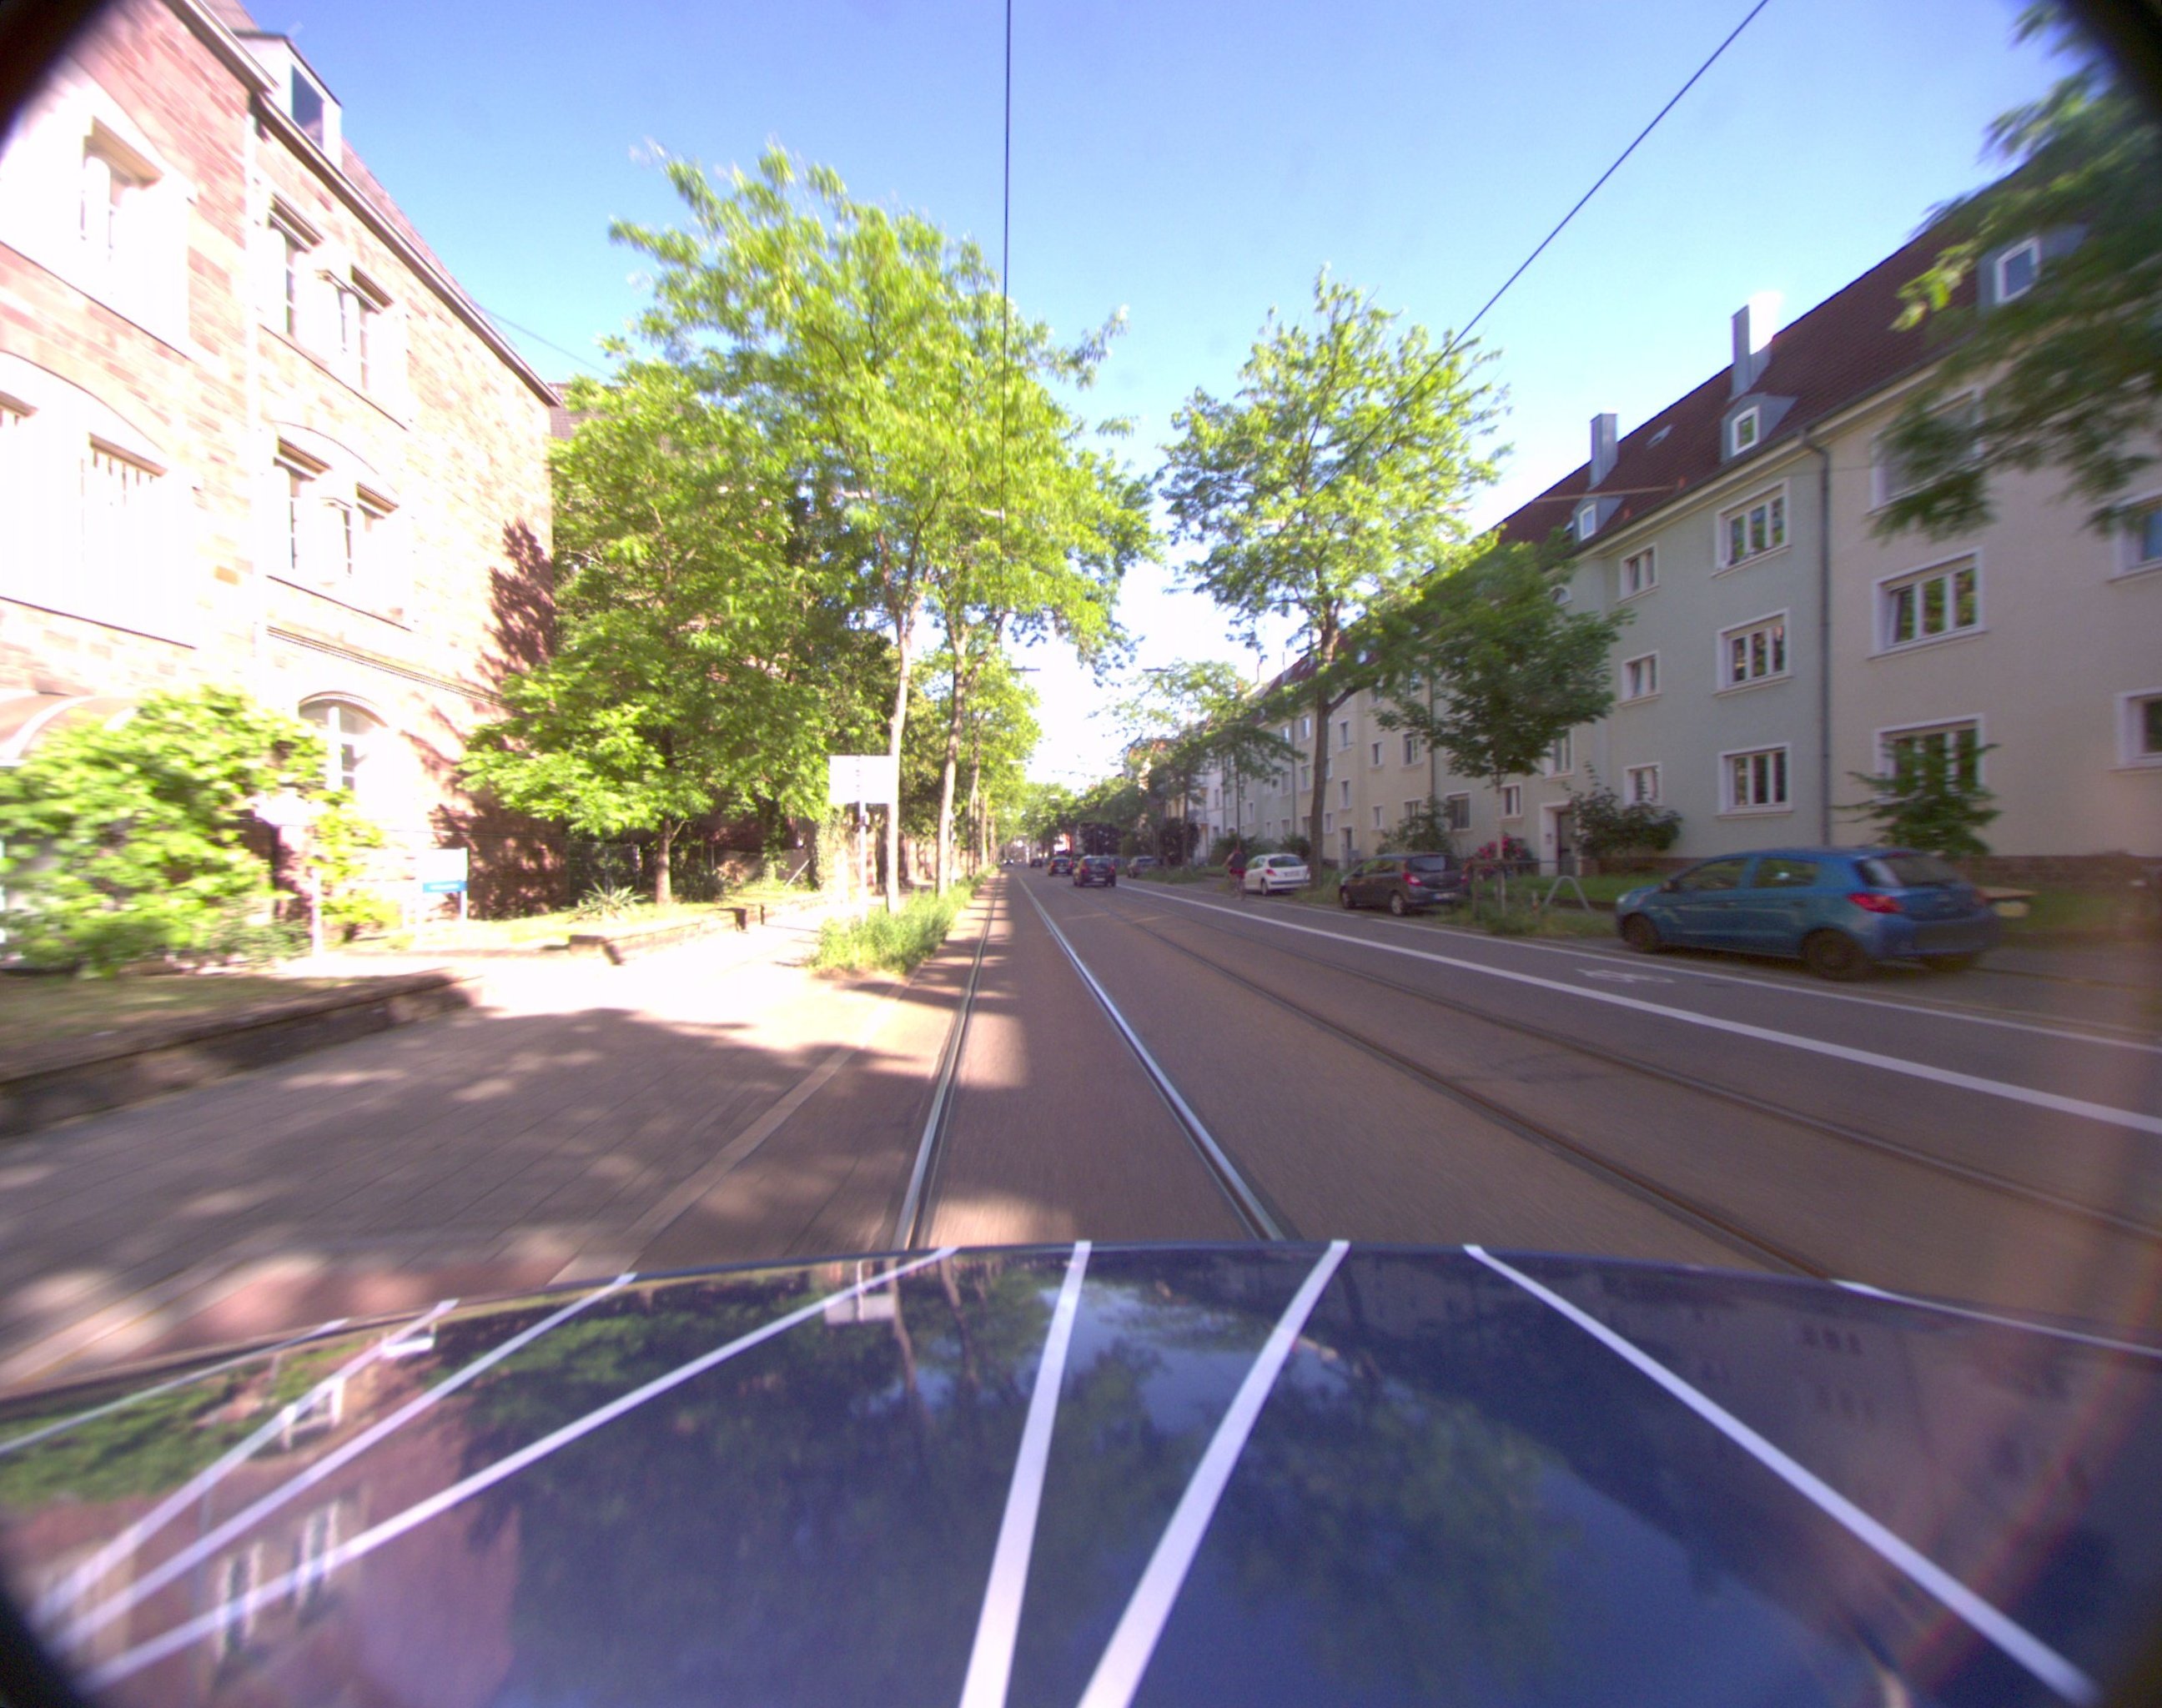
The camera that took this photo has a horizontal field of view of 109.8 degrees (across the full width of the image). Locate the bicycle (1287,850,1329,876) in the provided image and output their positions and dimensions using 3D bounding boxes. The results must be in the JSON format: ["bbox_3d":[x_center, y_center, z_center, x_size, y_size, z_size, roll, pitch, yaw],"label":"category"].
[{"bbox_3d":[11.198,0.449,37.538,1.913,1.171,0.521,-3,1,-8],"label":"bicycle"}]

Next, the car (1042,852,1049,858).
[{"bbox_3d":[-9.021,0.210,193.100,1.558,1.446,3.666,-2,0,-6],"label":"car"}]

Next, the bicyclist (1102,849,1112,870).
[{"bbox_3d":[1.979,0.410,58.496,0.628,1.629,0.939,1,0,-6],"label":"bicyclist"}]

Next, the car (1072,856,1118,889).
[{"bbox_3d":[0.637,0.860,37.683,1.704,1.462,4.069,-2,0,-7],"label":"car"}]

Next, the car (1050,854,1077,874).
[{"bbox_3d":[-1.378,0.750,59.466,1.704,1.431,4.069,-2,0,-7],"label":"car"}]

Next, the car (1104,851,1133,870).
[{"bbox_3d":[3.262,0.567,66.939,1.763,1.502,4.436,-3,0,-7],"label":"car"}]

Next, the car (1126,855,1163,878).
[{"bbox_3d":[4.428,0.841,53.768,1.822,1.476,4.204,-3,0,-6],"label":"car"}]

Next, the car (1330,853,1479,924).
[{"bbox_3d":[7.829,0.766,18.806,1.692,1.476,3.757,-4,1,-7],"label":"car"}]

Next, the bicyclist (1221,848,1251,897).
[{"bbox_3d":[5.269,0.619,25.861,0.712,1.598,0.864,1,0,-6],"label":"bicyclist"}]

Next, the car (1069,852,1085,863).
[{"bbox_3d":[-0.541,0.486,108.039,1.782,1.532,4.483,-3,0,-5],"label":"car"}]

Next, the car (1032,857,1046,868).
[{"bbox_3d":[-6.380,1.248,114.131,1.763,1.431,4.520,-2,0,-7],"label":"car"}]

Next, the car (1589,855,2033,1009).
[{"bbox_3d":[8.788,0.786,9.703,1.565,1.448,3.928,-4,1,-8],"label":"car"}]

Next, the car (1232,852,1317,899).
[{"bbox_3d":[7.089,0.741,28.249,1.707,1.476,4.076,-4,1,-6],"label":"car"}]

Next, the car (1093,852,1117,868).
[{"bbox_3d":[2.416,0.553,77.629,1.823,1.502,4.368,-3,0,-7],"label":"car"}]

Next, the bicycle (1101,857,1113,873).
[{"bbox_3d":[1.983,0.811,58.385,0.628,1.170,1.912,1,0,-6],"label":"bicycle"}]

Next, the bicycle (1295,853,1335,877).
[{"bbox_3d":[12.390,0.573,40.201,1.913,1.171,0.521,-3,1,-8],"label":"bicycle"}]

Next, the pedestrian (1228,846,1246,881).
[{"bbox_3d":[8.246,0.496,40.218,0.693,1.791,0.813,-1,1,-6],"label":"pedestrian"}]

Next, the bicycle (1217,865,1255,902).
[{"bbox_3d":[5.259,0.994,25.847,0.696,1.170,1.912,1,0,-6],"label":"bicycle"}]
